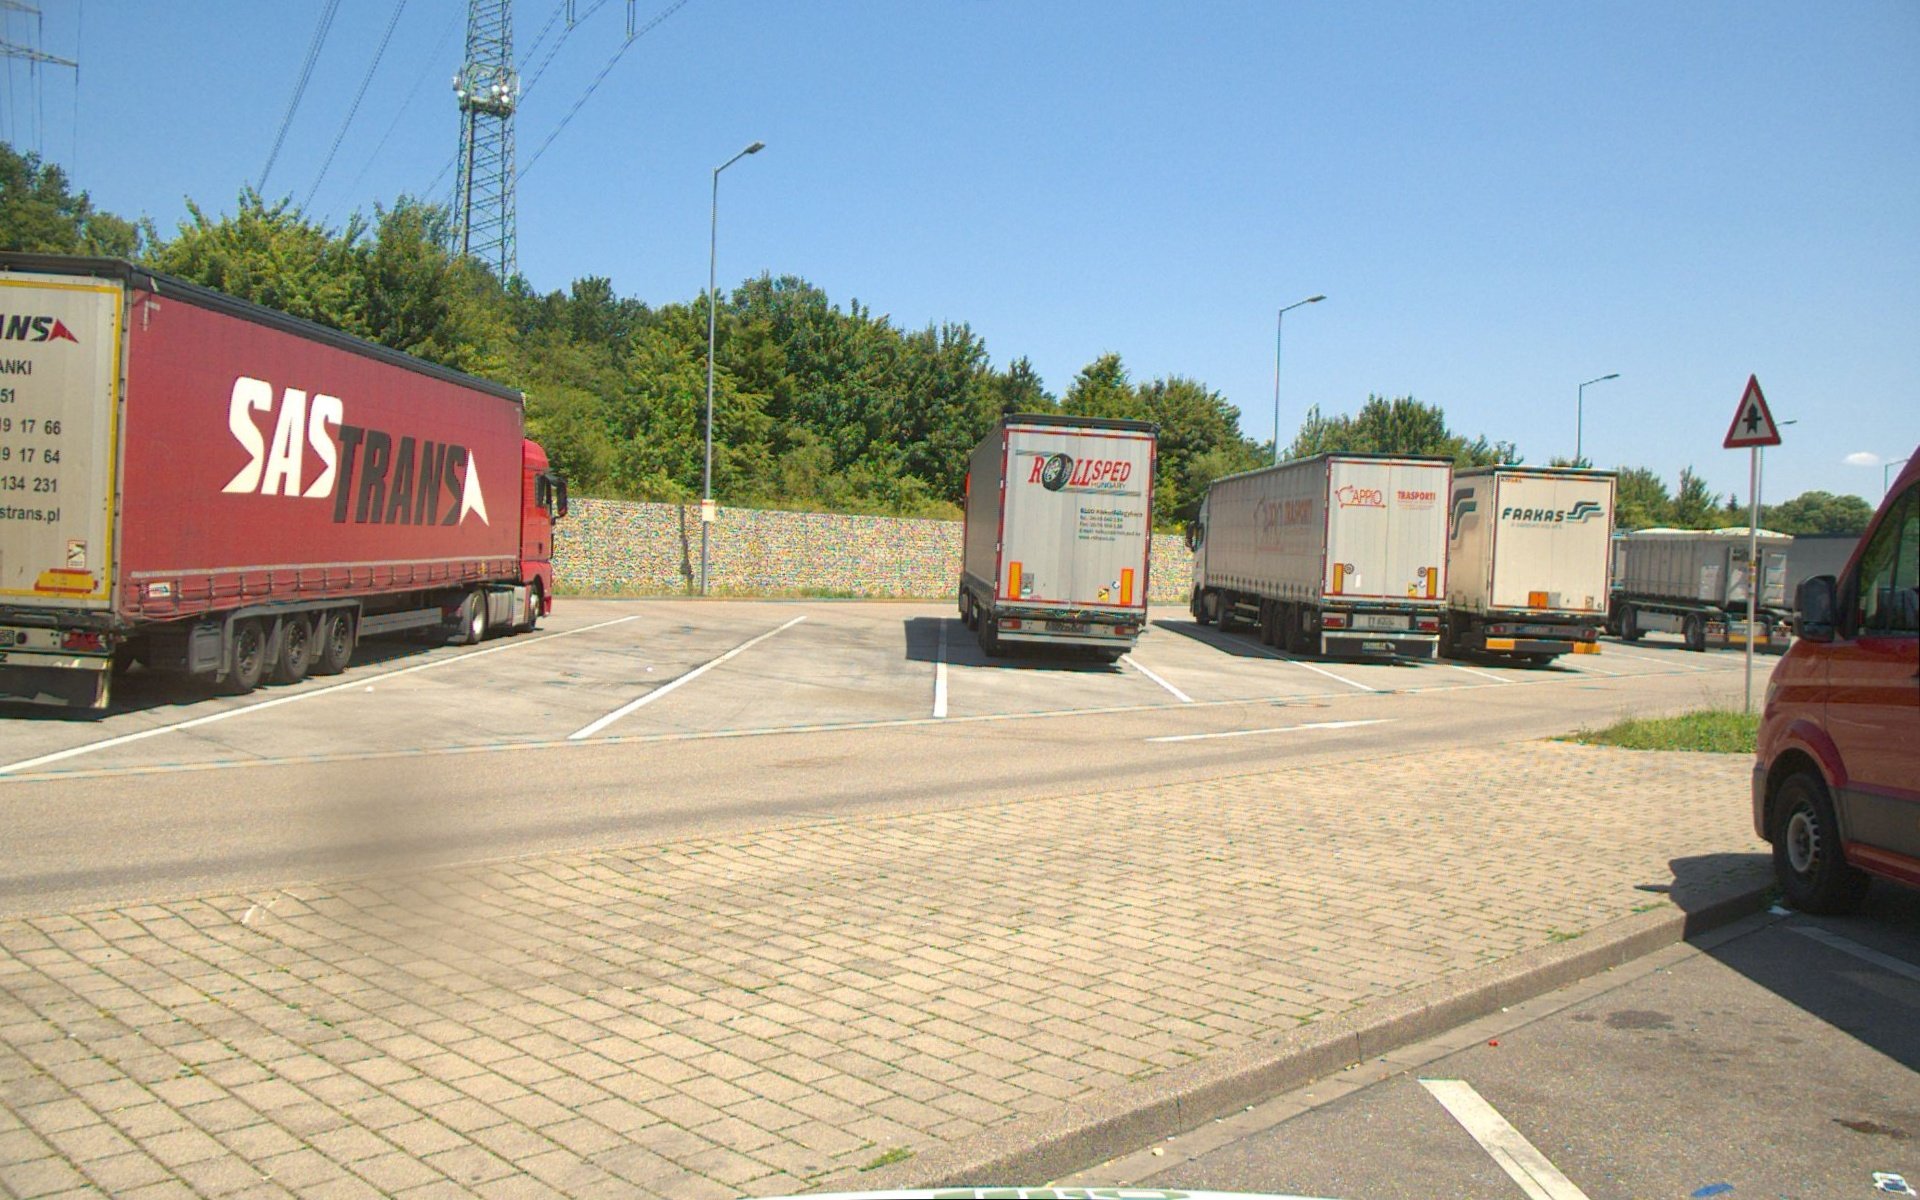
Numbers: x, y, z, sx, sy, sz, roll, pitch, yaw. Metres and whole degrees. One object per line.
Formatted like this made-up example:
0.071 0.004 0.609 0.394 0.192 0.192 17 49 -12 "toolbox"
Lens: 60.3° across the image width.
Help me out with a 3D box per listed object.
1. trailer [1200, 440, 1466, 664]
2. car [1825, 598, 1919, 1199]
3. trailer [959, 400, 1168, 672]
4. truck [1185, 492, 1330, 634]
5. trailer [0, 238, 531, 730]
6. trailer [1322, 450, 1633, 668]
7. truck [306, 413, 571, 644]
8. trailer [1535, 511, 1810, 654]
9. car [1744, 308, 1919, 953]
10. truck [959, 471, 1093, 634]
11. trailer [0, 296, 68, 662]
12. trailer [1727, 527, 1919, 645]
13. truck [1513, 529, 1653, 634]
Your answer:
8.202 -1.140 38.826 2.781 4.204 13.722 2 2 -1 "trailer"
2.590 0.801 1.154 1.703 1.508 3.813 1 1 -6 "car"
1.641 -1.232 33.237 2.848 4.204 13.720 2 2 -1 "trailer"
8.088 -1.041 45.635 2.794 3.544 5.482 2 2 -1 "truck"
-8.688 -1.296 21.184 2.848 4.203 13.723 2 2 -1 "trailer"
11.761 -1.020 39.631 2.781 4.204 13.722 2 2 -1 "trailer"
-8.802 -1.206 28.620 2.794 3.487 5.482 2 2 -1 "truck"
21.919 -0.689 52.205 2.780 3.781 13.726 3 2 1 "trailer"
5.001 0.166 5.558 2.023 2.742 6.397 1 1 4 "car"
1.473 -1.145 39.846 2.794 3.544 5.482 2 2 -1 "truck"
-12.533 -1.307 15.701 2.673 4.282 10.170 2 2 -1 "trailer"
34.931 -0.651 65.409 2.780 4.119 13.726 2 2 1 "trailer"
22.000 -0.720 58.709 2.794 3.423 5.484 3 2 0 "truck"
